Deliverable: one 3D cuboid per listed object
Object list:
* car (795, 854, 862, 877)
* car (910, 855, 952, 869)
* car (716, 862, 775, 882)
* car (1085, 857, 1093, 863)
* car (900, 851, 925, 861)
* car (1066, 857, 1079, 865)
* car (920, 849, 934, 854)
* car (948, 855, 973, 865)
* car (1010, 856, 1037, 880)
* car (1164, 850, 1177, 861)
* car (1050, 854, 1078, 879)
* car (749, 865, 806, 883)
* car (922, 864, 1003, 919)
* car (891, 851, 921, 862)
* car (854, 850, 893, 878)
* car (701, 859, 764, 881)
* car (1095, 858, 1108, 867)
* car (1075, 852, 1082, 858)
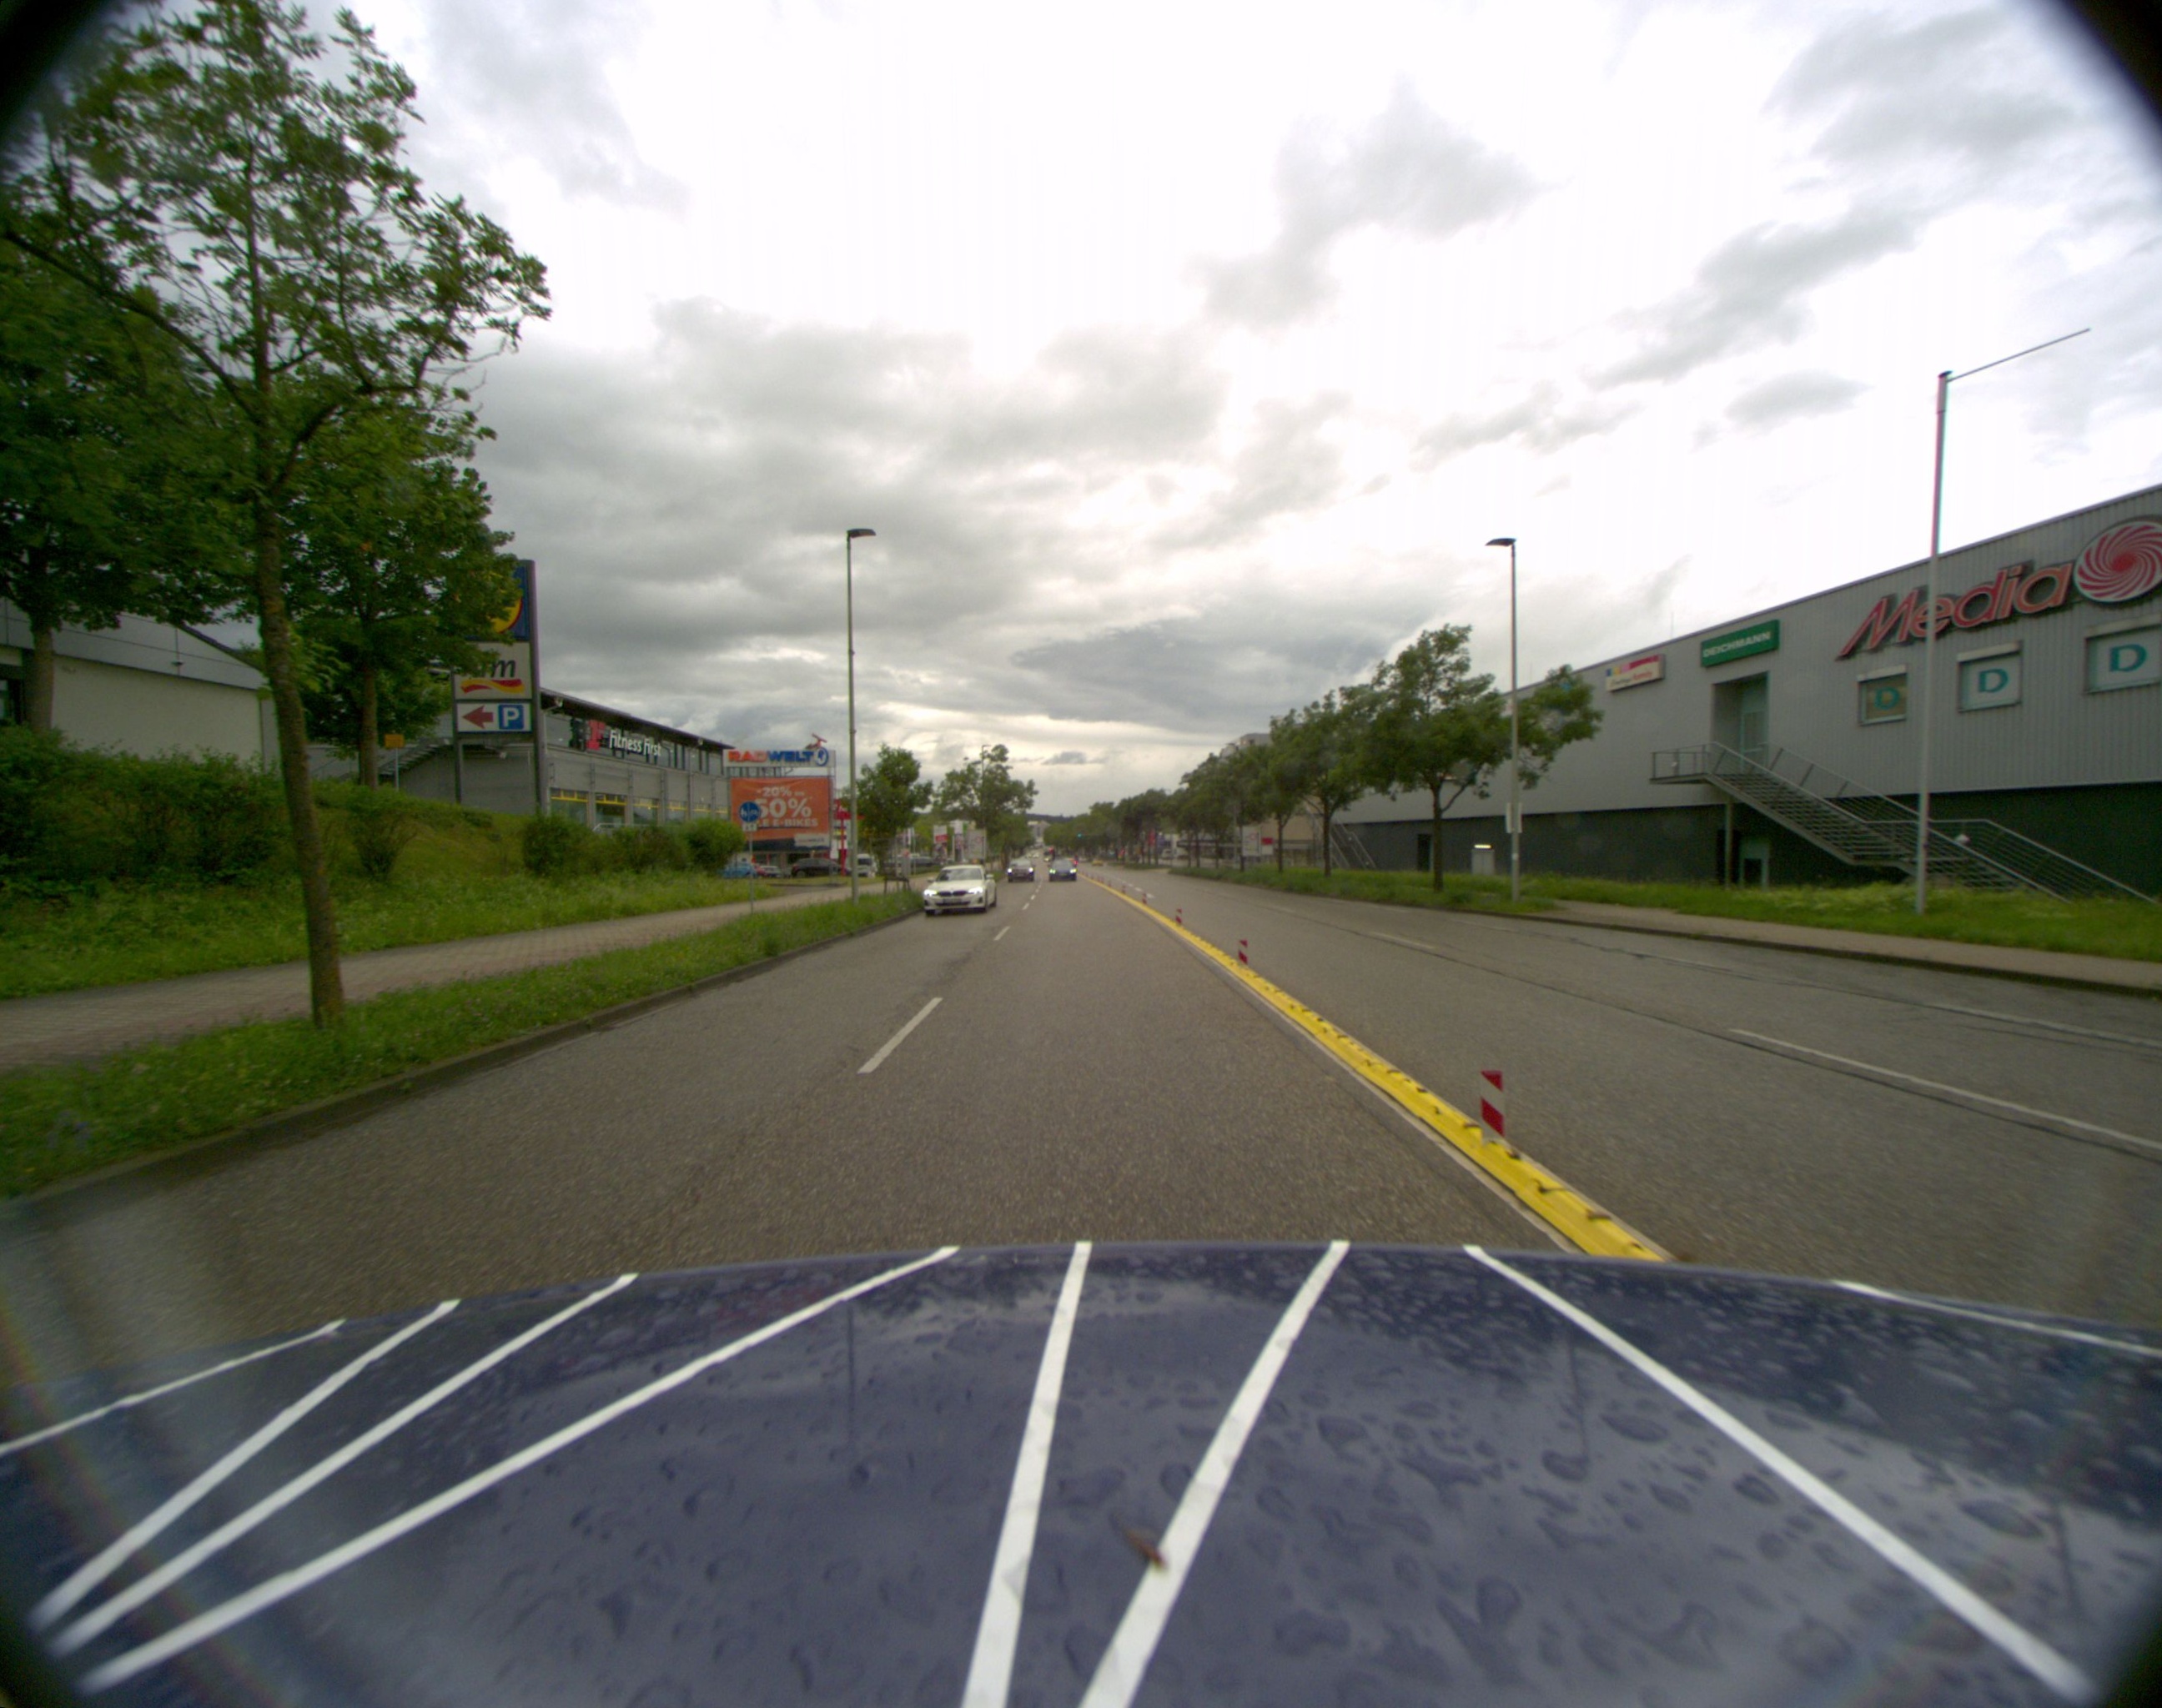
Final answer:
[{"bbox_3d":[-16.804,0.804,50.738,4.106,1.429,1.795,-1,-2,-16],"label":"car"},{"bbox_3d":[-18.498,0.965,93.643,4.664,1.591,1.927,2,0,7],"label":"car"},{"bbox_3d":[-26.598,1.417,60.250,3.882,1.492,1.735,1,-3,-43],"label":"car"},{"bbox_3d":[2.055,1.560,193.232,1.745,1.398,4.467,1,0,-3],"label":"car"},{"bbox_3d":[-30.185,0.359,136.289,1.794,1.735,4.125,4,1,42],"label":"car"},{"bbox_3d":[-1.459,1.160,127.284,1.789,1.398,4.614,0,0,-5],"label":"car"},{"bbox_3d":[-45.772,-0.787,226.011,3.998,1.501,1.799,0,0,-4],"label":"car"},{"bbox_3d":[-21.622,1.043,136.299,4.187,1.570,1.738,2,0,-42],"label":"car"},{"bbox_3d":[-4.079,0.982,53.817,1.799,1.572,4.217,-3,0,-4],"label":"car"},{"bbox_3d":[18.108,0.212,153.390,1.998,2.002,4.885,-6,1,1],"label":"car"},{"bbox_3d":[-1.202,0.863,52.541,1.799,1.572,4.217,-3,0,-2],"label":"car"},{"bbox_3d":[-26.456,1.757,66.384,1.735,1.461,4.270,-3,-3,43],"label":"car"},{"bbox_3d":[-3.633,1.094,24.049,1.808,1.432,4.541,-3,0,0],"label":"car"},{"bbox_3d":[-29.171,0.408,126.524,4.508,1.672,1.794,2,1,-42],"label":"car"},{"bbox_3d":[-20.308,0.954,74.646,2.233,2.521,5.680,-3,-1,-1],"label":"car"},{"bbox_3d":[-25.963,1.175,56.711,3.919,1.549,1.735,1,-3,-45],"label":"car"},{"bbox_3d":[3.809,1.639,143.060,1.622,1.500,3.707,-5,1,-11],"label":"car"},{"bbox_3d":[-0.805,0.334,219.037,1.745,1.543,4.780,1,0,-3],"label":"car"}]
